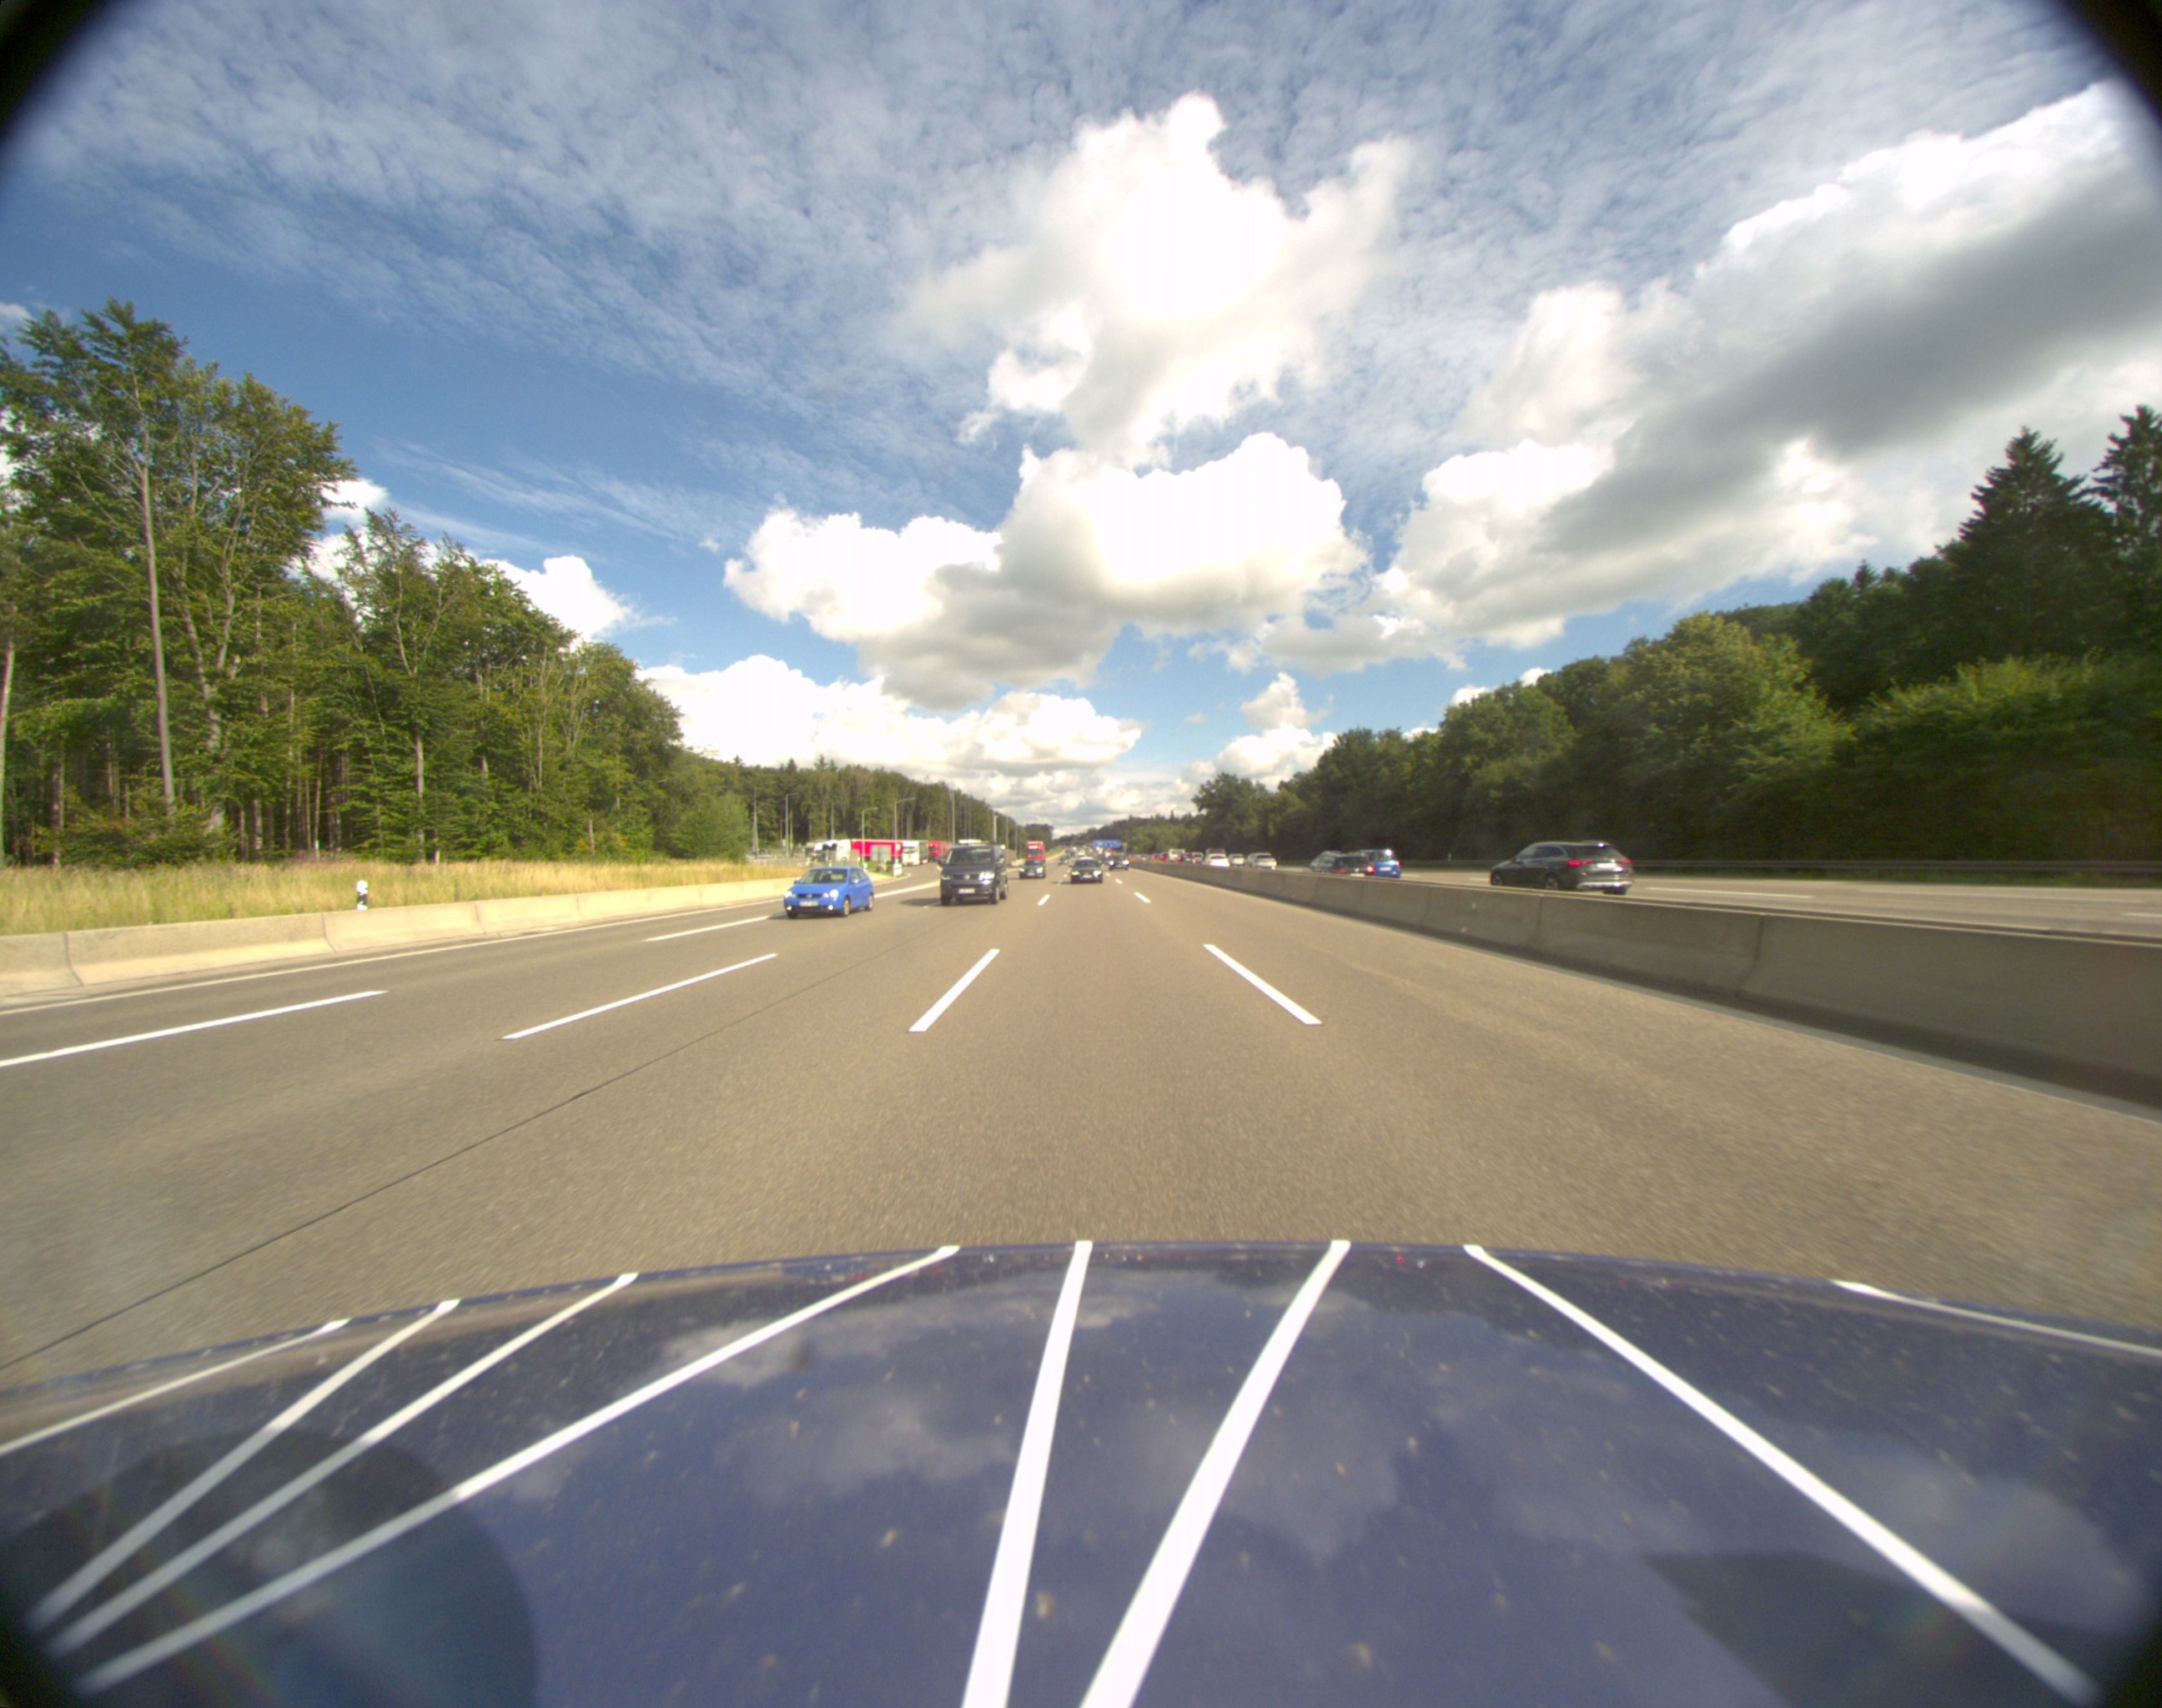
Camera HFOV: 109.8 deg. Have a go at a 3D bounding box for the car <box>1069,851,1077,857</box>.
[{"bbox_3d":[-2.261,0.064,214.929,2.153,1.540,4.677,-1,0,0],"label":"car"}]

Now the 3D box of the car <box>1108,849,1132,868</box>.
[{"bbox_3d":[4.027,0.459,78.741,2.153,1.800,5.098,-2,1,0],"label":"car"}]

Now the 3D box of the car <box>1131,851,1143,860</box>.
[{"bbox_3d":[10.492,0.309,143.196,1.998,1.543,4.000,-1,0,0],"label":"car"}]

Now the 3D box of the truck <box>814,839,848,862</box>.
[{"bbox_3d":[-45.757,-0.627,139.195,5.181,4.093,2.565,-1,1,-44],"label":"truck"}]

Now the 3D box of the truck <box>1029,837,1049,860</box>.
[{"bbox_3d":[-6.932,-0.953,126.103,3.018,3.662,7.560,-1,0,-1],"label":"truck"}]

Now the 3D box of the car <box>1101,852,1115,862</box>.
[{"bbox_3d":[4.382,0.519,124.326,2.153,1.540,4.677,-1,0,0],"label":"car"}]

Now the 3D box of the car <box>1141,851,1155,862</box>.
[{"bbox_3d":[10.396,0.321,118.500,1.746,1.608,4.550,-1,0,0],"label":"car"}]

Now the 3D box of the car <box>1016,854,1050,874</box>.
[{"bbox_3d":[-3.551,0.719,56.959,2.153,1.426,5.099,-1,0,0],"label":"car"}]

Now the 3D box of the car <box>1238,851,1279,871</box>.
[{"bbox_3d":[13.859,0.507,59.577,1.998,1.476,5.131,-1,0,0],"label":"car"}]

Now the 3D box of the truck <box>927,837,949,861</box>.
[{"bbox_3d":[-27.696,-1.011,147.519,2.878,4.480,7.036,-1,0,0],"label":"truck"}]

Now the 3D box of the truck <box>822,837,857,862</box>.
[{"bbox_3d":[-43.512,-0.821,136.936,5.132,4.482,2.889,-1,1,-44],"label":"truck"}]

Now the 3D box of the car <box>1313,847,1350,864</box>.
[{"bbox_3d":[25.911,0.170,78.837,2.176,1.627,4.876,-1,0,0],"label":"car"}]

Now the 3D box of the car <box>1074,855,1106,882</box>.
[{"bbox_3d":[0.520,0.810,44.534,1.733,1.500,4.728,-2,0,1],"label":"car"}]

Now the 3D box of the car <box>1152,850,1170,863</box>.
[{"bbox_3d":[10.696,0.342,101.704,1.998,1.608,4.550,-1,0,0],"label":"car"}]

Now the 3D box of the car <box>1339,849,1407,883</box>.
[{"bbox_3d":[14.107,0.562,36.965,1.633,1.503,3.999,-2,0,-2],"label":"car"}]

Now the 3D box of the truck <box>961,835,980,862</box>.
[{"bbox_3d":[-20.647,-0.988,142.113,2.661,4.896,6.984,0,0,0],"label":"truck"}]

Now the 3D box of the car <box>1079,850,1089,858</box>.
[{"bbox_3d":[0.616,0.002,167.549,2.153,1.540,4.677,-1,0,0],"label":"car"}]

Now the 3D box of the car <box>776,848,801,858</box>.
[{"bbox_3d":[-56.531,-0.167,146.871,3.997,1.904,2.000,0,0,-1],"label":"car"}]

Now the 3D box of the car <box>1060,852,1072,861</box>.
[{"bbox_3d":[-2.895,0.500,145.918,2.153,1.540,4.677,-1,0,0],"label":"car"}]

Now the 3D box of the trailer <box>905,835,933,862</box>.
[{"bbox_3d":[-27.611,-0.915,130.004,2.880,4.480,12.996,0,0,-5],"label":"trailer"}]

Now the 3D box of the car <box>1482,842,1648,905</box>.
[{"bbox_3d":[14.056,0.509,22.463,1.864,1.610,4.748,-1,0,0],"label":"car"}]

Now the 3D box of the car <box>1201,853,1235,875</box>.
[{"bbox_3d":[10.750,0.758,59.858,1.917,1.631,4.242,0,0,0],"label":"car"}]

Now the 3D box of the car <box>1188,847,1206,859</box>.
[{"bbox_3d":[18.772,-0.124,123.036,1.955,1.841,5.341,-1,0,0],"label":"car"}]

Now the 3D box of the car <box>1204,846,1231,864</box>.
[{"bbox_3d":[14.606,0.089,81.643,1.998,1.794,5.125,-1,0,0],"label":"car"}]

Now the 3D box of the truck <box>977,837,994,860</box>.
[{"bbox_3d":[-20.553,-1.148,163.811,2.661,4.896,7.261,0,0,0],"label":"truck"}]

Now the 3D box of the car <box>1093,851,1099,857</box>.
[{"bbox_3d":[4.800,0.038,238.650,1.892,1.783,4.000,0,0,0],"label":"car"}]

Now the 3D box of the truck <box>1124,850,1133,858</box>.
[{"bbox_3d":[14.058,0.040,224.989,2.368,2.444,5.239,0,0,0],"label":"truck"}]

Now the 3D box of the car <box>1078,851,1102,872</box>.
[{"bbox_3d":[0.854,0.630,70.666,2.153,1.800,5.099,-2,1,1],"label":"car"}]

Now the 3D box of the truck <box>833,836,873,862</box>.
[{"bbox_3d":[-40.375,-0.862,134.632,6.109,4.481,2.873,-2,1,-44],"label":"truck"}]

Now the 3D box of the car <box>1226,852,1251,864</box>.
[{"bbox_3d":[18.150,0.400,87.753,1.869,1.294,4.550,-1,0,0],"label":"car"}]

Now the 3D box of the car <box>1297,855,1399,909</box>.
[{"bbox_3d":[10.046,0.987,29.055,2.176,1.867,4.980,0,0,0],"label":"car"}]

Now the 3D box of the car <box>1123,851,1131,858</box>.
[{"bbox_3d":[10.740,0.131,178.493,1.698,1.543,4.000,-1,0,0],"label":"car"}]

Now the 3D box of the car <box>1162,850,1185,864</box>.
[{"bbox_3d":[10.904,0.370,90.222,2.176,1.608,4.550,-1,0,0],"label":"car"}]

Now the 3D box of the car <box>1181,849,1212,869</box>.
[{"bbox_3d":[11.065,0.473,73.128,2.176,1.790,4.876,-1,0,0],"label":"car"}]

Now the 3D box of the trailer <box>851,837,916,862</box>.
[{"bbox_3d":[-36.020,-0.918,138.768,11.406,4.348,2.838,-2,1,-43],"label":"trailer"}]

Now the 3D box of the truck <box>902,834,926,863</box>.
[{"bbox_3d":[-27.030,-0.859,123.239,2.880,4.480,7.173,0,0,-6],"label":"truck"}]

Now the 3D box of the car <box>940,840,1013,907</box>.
[{"bbox_3d":[-3.597,0.638,26.949,1.854,2.097,4.932,-2,0,0],"label":"car"}]

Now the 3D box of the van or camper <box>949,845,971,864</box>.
[{"bbox_3d":[-20.606,0.022,129.473,2.393,3.179,4.745,-1,0,7],"label":"van or camper"}]

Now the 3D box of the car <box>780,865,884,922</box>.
[{"bbox_3d":[-7.218,1.092,22.454,1.654,1.433,4.000,-2,0,1],"label":"car"}]

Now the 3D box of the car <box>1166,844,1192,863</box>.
[{"bbox_3d":[10.932,-0.043,84.984,2.164,2.002,5.822,0,0,1],"label":"car"}]
